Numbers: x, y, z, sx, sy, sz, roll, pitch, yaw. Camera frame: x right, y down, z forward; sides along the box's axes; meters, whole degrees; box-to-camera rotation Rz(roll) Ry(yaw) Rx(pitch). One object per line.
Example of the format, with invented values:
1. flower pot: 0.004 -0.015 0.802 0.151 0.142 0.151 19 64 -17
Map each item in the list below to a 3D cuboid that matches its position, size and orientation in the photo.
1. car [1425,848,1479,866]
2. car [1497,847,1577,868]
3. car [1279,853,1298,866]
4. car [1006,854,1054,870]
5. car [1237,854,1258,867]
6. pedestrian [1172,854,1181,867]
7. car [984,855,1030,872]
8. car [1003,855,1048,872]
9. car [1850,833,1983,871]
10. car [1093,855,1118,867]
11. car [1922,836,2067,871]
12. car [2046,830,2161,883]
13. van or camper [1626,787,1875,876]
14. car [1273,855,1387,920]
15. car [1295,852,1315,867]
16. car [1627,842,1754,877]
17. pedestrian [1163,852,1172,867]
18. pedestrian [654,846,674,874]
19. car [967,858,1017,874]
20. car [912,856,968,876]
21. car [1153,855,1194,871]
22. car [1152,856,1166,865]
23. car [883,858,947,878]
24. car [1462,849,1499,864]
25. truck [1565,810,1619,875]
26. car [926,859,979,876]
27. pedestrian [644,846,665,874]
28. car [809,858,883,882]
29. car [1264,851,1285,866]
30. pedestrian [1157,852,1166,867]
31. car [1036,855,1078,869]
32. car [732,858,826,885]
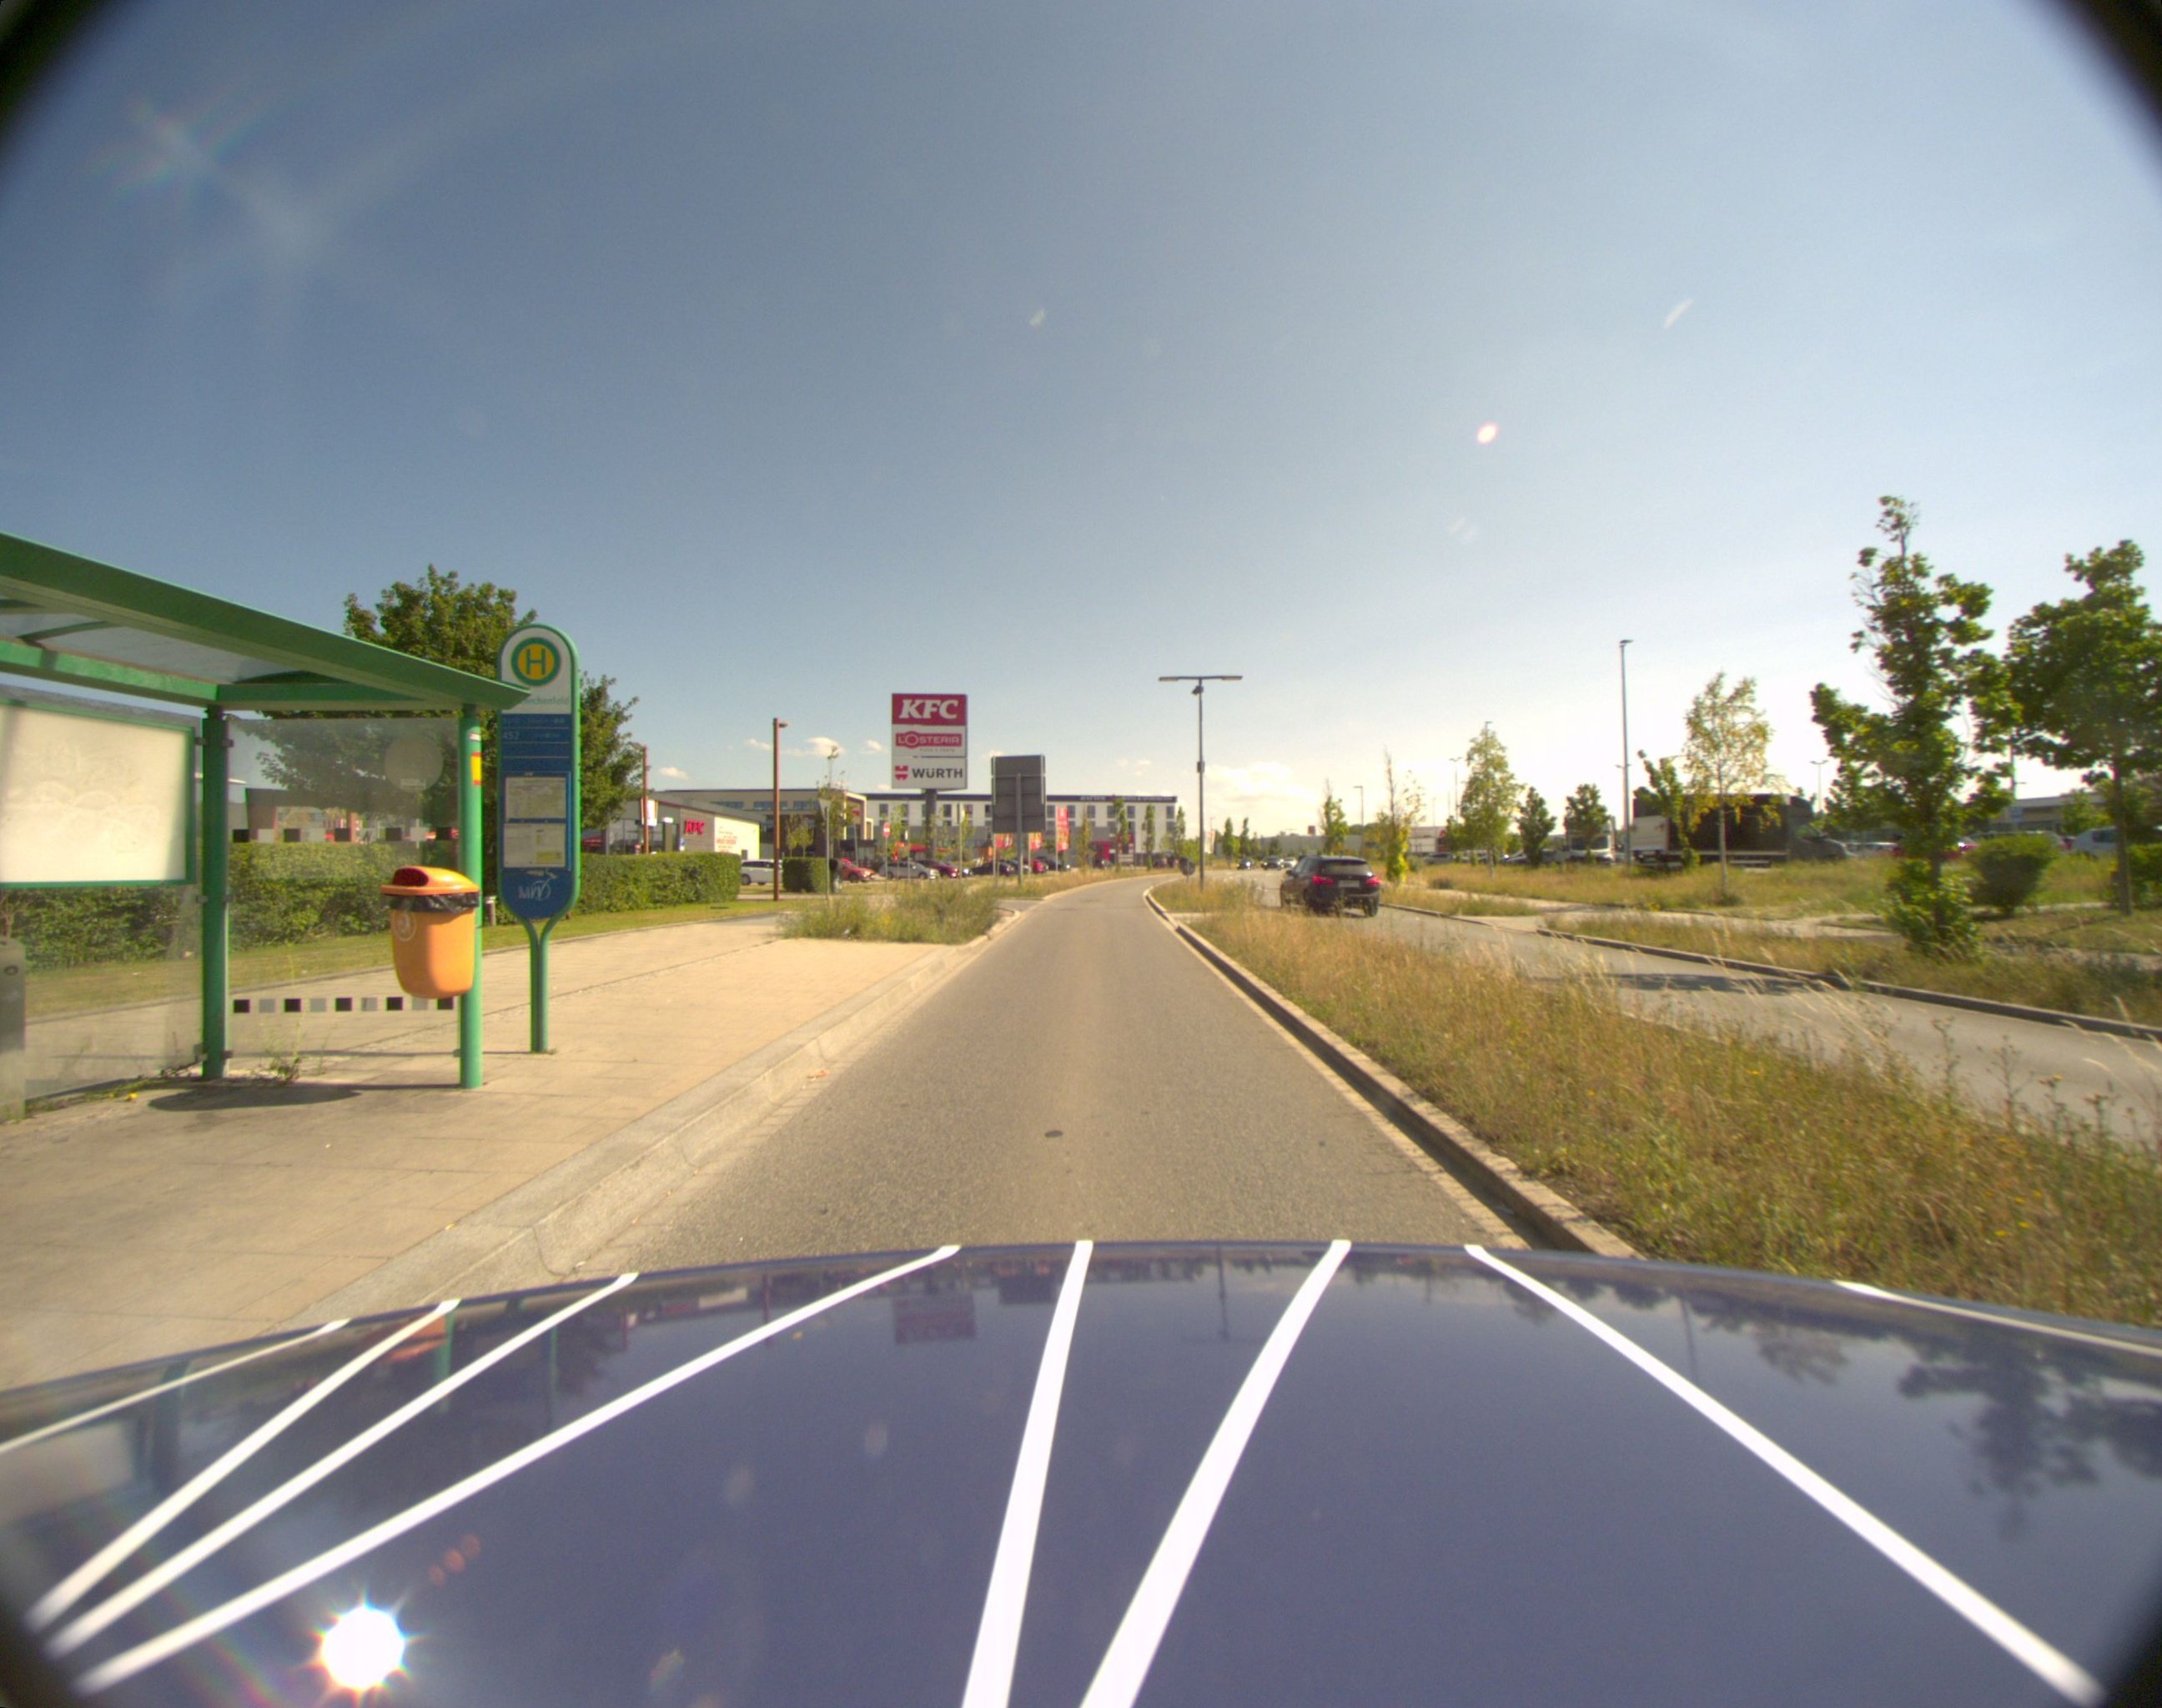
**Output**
1. car: 36.939 0.295 75.713 4.765 1.633 2.120 -2 -2 26
2. car: 31.932 0.254 53.353 4.429 1.375 1.978 -1 0 18
3. car: 27.938 0.788 102.320 1.952 1.716 4.434 1 0 22
4. car: -5.657 0.880 84.186 4.987 1.724 1.942 0 0 18
5. car: 20.632 0.800 94.171 1.783 1.485 4.007 -1 0 24
6. pedestrian: 10.807 0.694 86.149 0.793 1.461 0.950 -1 0 23
7. car: -7.600 0.990 78.181 4.410 1.724 1.794 0 0 20
8. car: -5.946 0.989 80.880 4.410 1.724 1.794 0 0 20
9. car: 41.217 -0.084 37.662 1.836 1.763 4.382 -1 0 1
10. car: 3.245 0.916 99.406 1.781 1.531 4.176 -1 0 24
11. car: 44.227 -0.018 36.967 1.836 1.553 4.382 -1 0 1
12. car: 33.339 0.071 23.573 1.665 1.605 4.083 -1 0 0
13. van or camper: 27.785 -0.876 31.858 7.707 3.448 2.557 -1 0 8
14. car: 6.670 0.833 20.823 1.763 1.534 4.241 2 0 1
15. car: 26.807 0.673 91.045 1.953 1.784 4.434 1 0 21
16. car: 28.746 0.253 35.937 4.376 1.543 1.839 -1 0 7
17. pedestrian: 9.735 0.610 85.864 0.801 1.620 0.806 -1 0 23
18. pedestrian: -30.772 0.433 56.085 0.915 2.002 0.891 -1 0 6
19. car: -8.566 1.129 73.177 4.410 1.440 1.794 0 0 19
20. car: -11.854 1.020 63.957 4.158 1.655 1.871 0 0 17
21. car: 10.908 1.078 89.546 4.456 1.669 1.906 -2 -2 22
22. car: 12.515 1.027 122.012 1.515 1.399 4.006 0 0 17
23. car: -12.953 1.067 59.392 4.562 1.481 1.871 0 0 13
24. car: 52.508 0.338 99.979 4.148 1.850 1.936 0 0 21
25. truck: 29.997 -0.626 44.496 2.317 3.444 7.510 -1 0 36
26. car: -11.201 1.148 66.364 4.160 1.440 1.793 0 0 11
27. pedestrian: -30.761 0.426 54.818 0.915 2.002 0.891 -1 0 6
28. car: -15.362 1.028 49.789 4.212 1.481 1.870 0 0 9
29. car: 22.590 0.548 88.496 1.753 1.677 4.389 0 0 23
30. pedestrian: 9.142 0.632 86.545 0.809 1.619 0.867 -1 0 23
31. car: -2.803 0.911 87.403 4.411 1.557 1.998 0 0 18
32. car: -16.804 0.967 42.402 4.533 1.481 1.870 0 0 9
